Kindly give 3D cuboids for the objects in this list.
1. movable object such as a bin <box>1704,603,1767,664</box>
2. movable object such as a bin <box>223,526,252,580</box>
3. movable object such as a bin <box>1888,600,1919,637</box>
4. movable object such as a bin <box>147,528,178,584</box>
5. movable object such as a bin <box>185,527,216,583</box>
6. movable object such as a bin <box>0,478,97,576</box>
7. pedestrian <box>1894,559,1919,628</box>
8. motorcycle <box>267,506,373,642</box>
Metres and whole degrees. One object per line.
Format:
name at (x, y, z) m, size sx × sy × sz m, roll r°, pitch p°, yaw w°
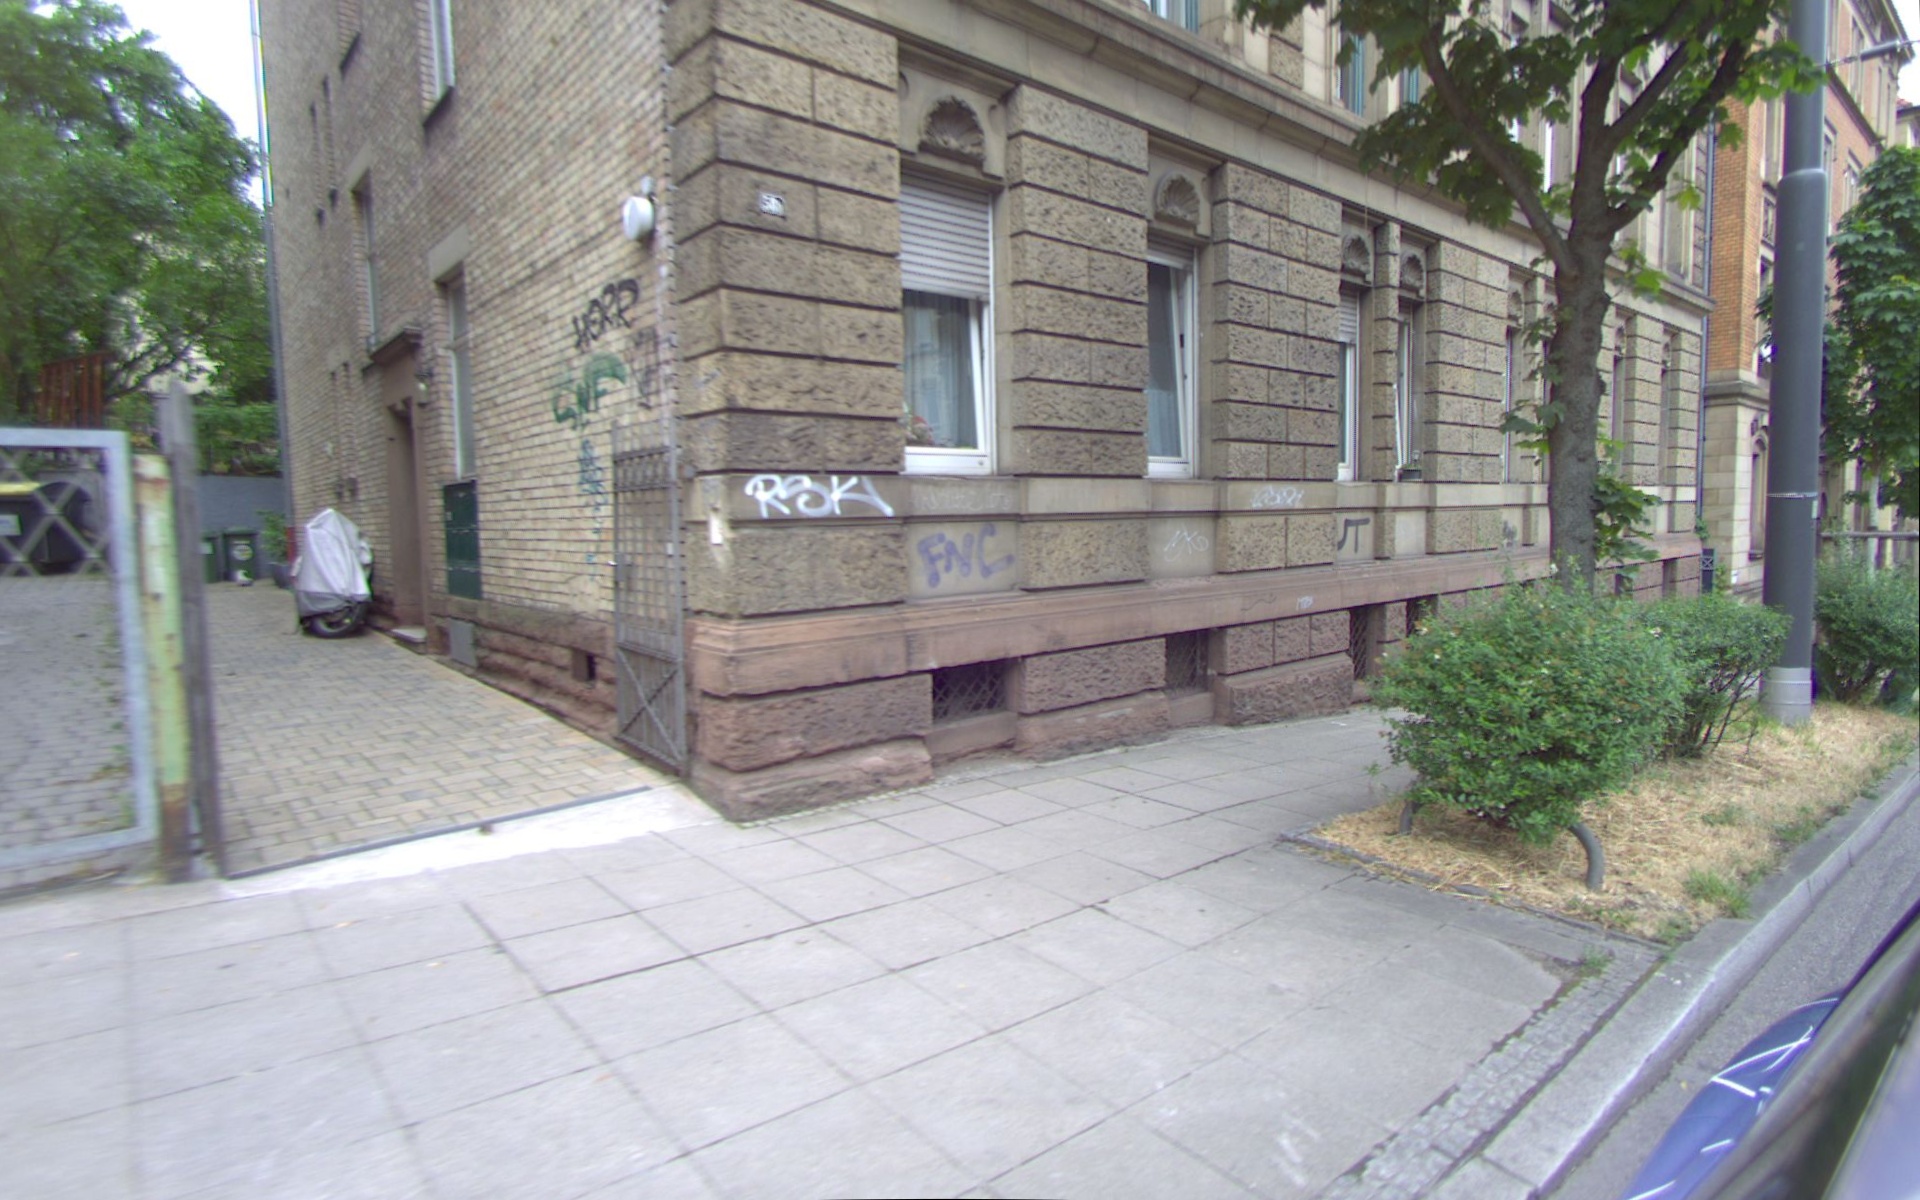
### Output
movable object such as a bin at (12.507, 0.541, 16.321) m, size 0.572 × 0.908 × 0.672 m, roll 3°, pitch 2°, yaw -43°
movable object such as a bin at (-14.136, -0.919, 19.791) m, size 0.381 × 1.043 × 0.413 m, roll -4°, pitch 5°, yaw -40°
movable object such as a bin at (27.782, 0.554, 29.728) m, size 0.572 × 1.028 × 0.672 m, roll 3°, pitch 2°, yaw -43°
movable object such as a bin at (-15.003, -0.830, 19.036) m, size 0.381 × 1.043 × 0.413 m, roll -4°, pitch 5°, yaw -42°
movable object such as a bin at (-14.544, -0.869, 19.377) m, size 0.381 × 1.043 × 0.413 m, roll -4°, pitch 5°, yaw -42°
movable object such as a bin at (-14.629, -1.130, 15.790) m, size 1.369 × 1.463 × 1.139 m, roll 1°, pitch 2°, yaw 5°
pedestrian at (26.578, -0.190, 28.142) m, size 1.102 × 1.851 × 0.687 m, roll -3°, pitch 5°, yaw -41°
motorcycle at (-7.727, -0.371, 12.171) m, size 0.643 × 1.461 × 2.031 m, roll -7°, pitch 9°, yaw -41°
